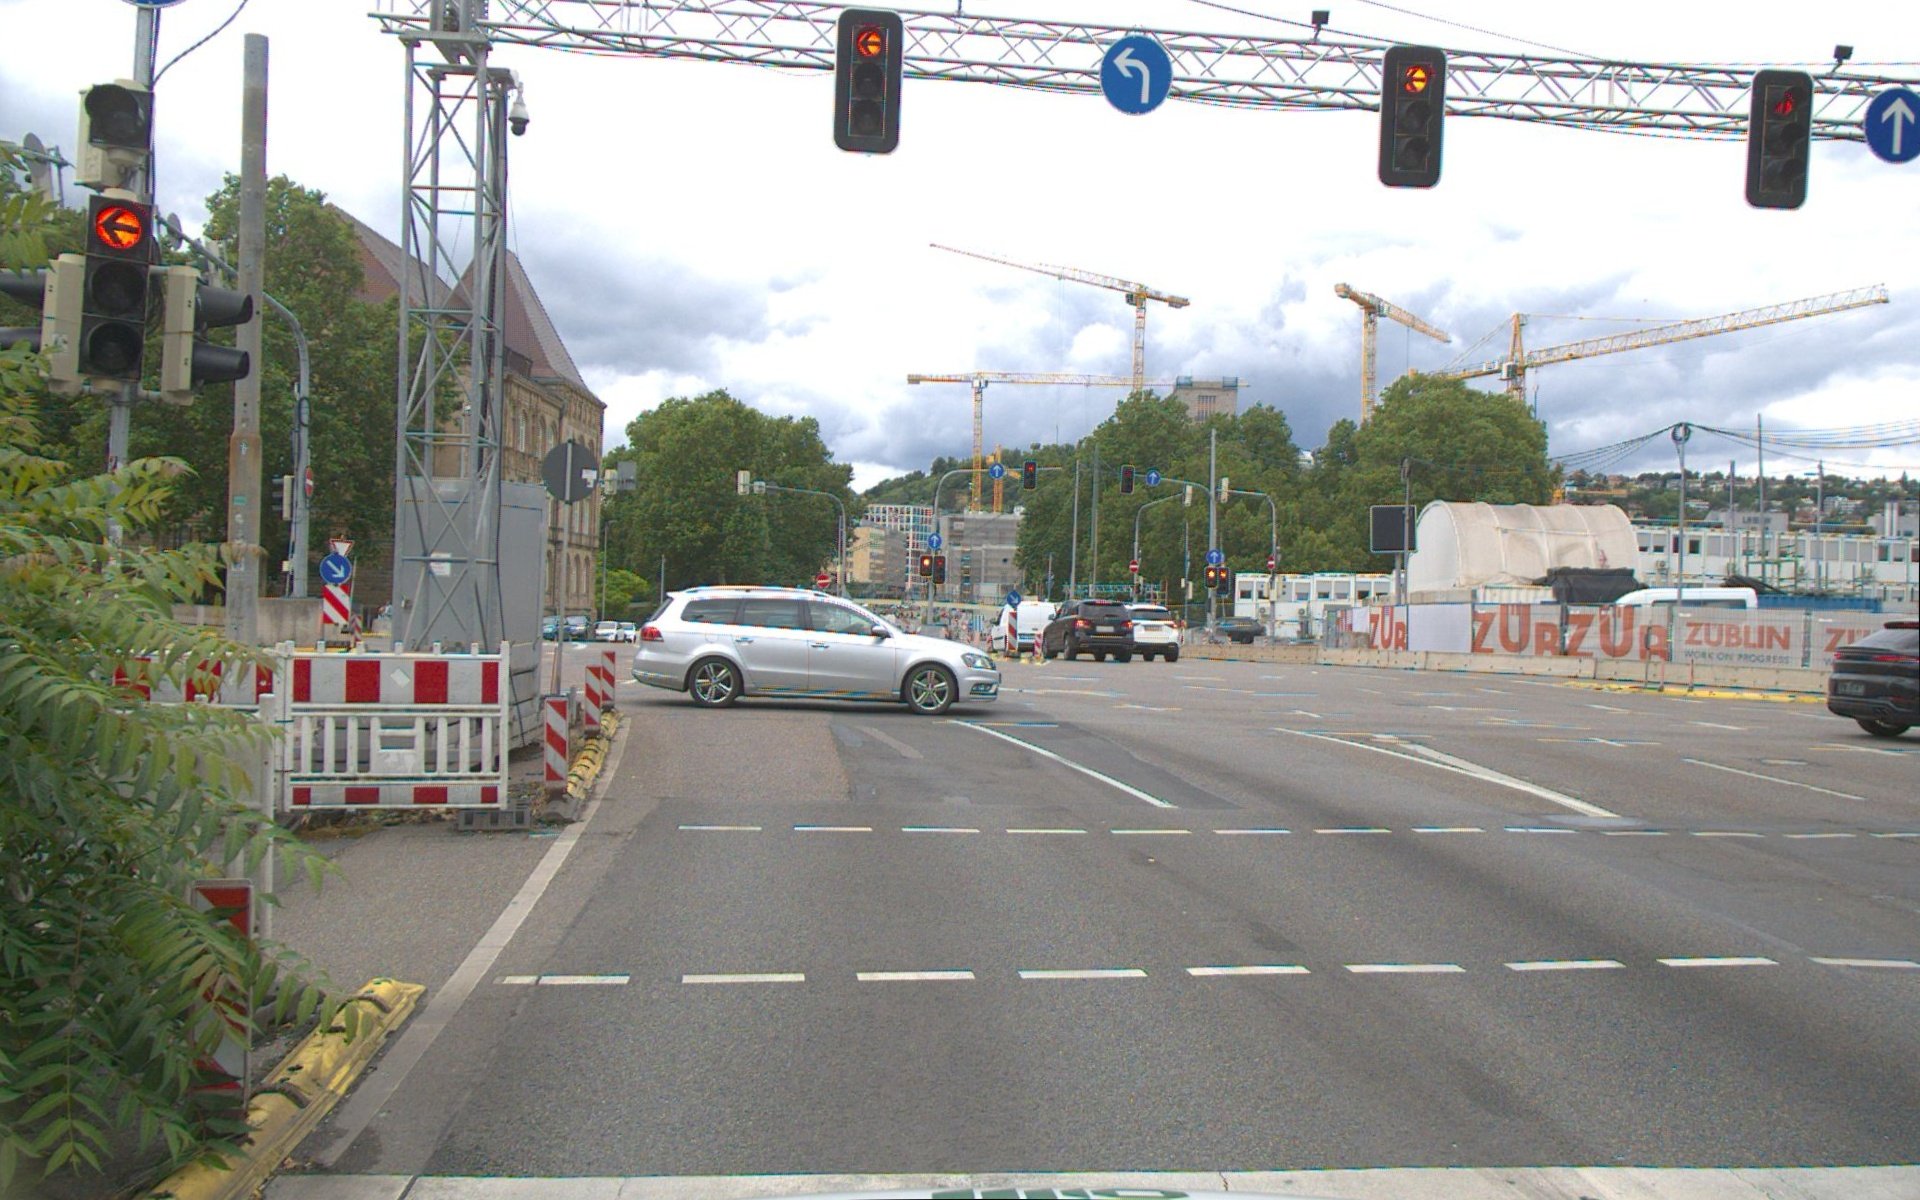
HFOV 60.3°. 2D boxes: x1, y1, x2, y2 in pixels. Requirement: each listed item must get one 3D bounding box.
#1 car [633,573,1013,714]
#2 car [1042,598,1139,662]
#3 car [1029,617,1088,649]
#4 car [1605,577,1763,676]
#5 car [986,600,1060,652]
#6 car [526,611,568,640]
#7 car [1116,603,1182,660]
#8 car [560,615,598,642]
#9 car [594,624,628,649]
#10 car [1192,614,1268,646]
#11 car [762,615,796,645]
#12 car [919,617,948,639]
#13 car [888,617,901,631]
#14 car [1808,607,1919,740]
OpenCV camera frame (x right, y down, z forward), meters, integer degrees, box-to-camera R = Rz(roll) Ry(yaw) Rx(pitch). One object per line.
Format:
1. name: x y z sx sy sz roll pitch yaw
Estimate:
1. car: -1.715 0.539 21.123 4.617 1.653 1.680 1 0 -4
2. car: 3.775 0.838 48.527 1.799 1.776 4.245 1 0 -10
3. car: 4.507 1.505 76.036 1.650 1.422 3.070 1 0 -19
4. car: 20.819 0.745 47.680 3.902 2.708 1.683 1 0 13
5. car: 2.077 0.848 55.548 1.783 1.653 3.993 1 0 -8
6. car: -21.482 1.312 86.141 1.644 1.422 3.677 1 0 -7
7. car: 6.037 0.995 53.126 1.642 1.732 3.374 1 0 -1
8. car: -21.289 1.596 92.571 1.644 1.422 3.677 1 0 -7
9. car: -21.297 2.237 101.068 1.644 1.422 3.677 1 0 -7
10. car: 14.384 1.581 88.143 3.902 1.579 1.783 1 0 10
11. car: -9.295 1.519 84.848 1.644 1.422 3.677 1 0 -7
12. car: -1.850 1.932 114.700 1.644 1.422 3.677 1 0 -7
13. car: -10.287 3.813 258.878 1.954 2.049 3.997 1 0 -3
14. car: 14.001 0.958 21.691 4.709 1.653 2.020 1 0 0
